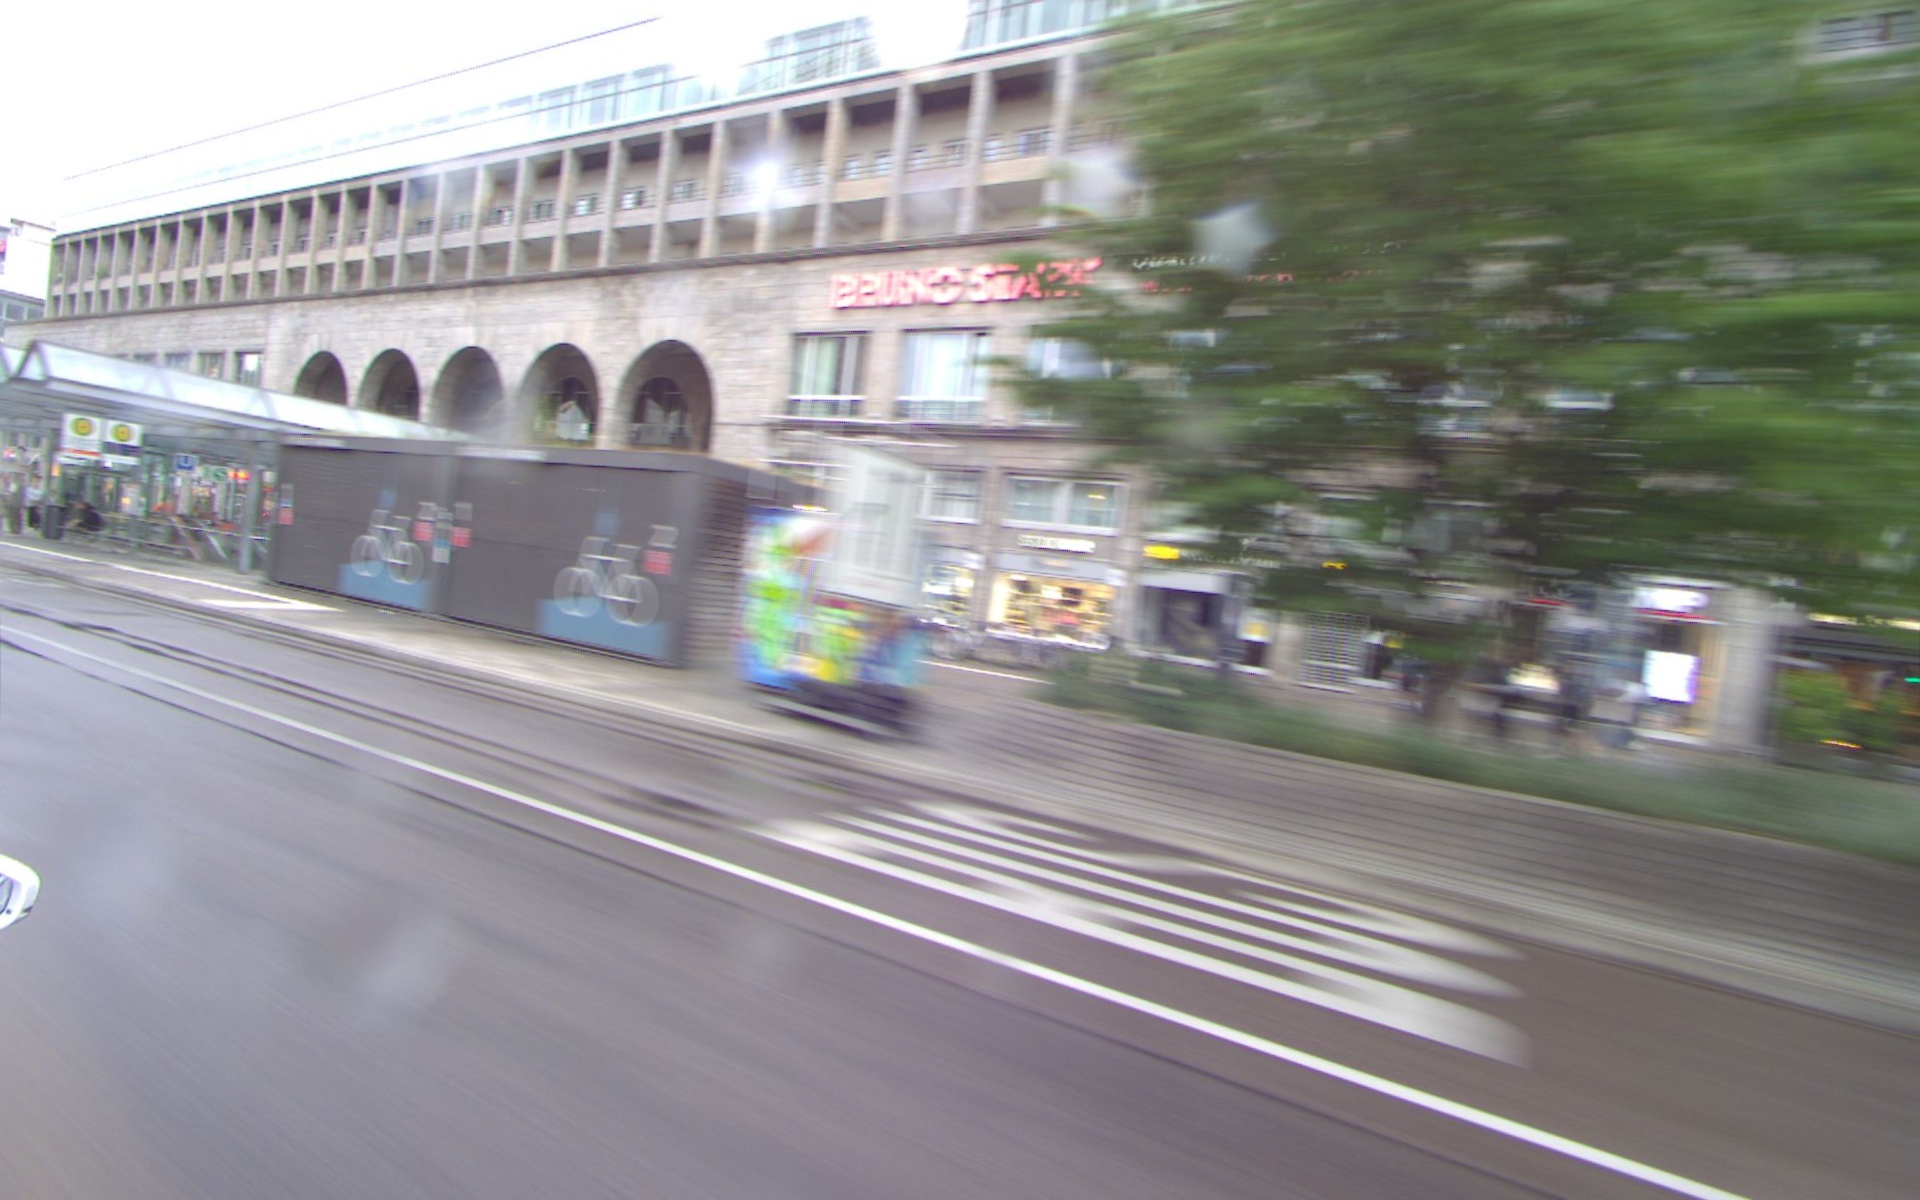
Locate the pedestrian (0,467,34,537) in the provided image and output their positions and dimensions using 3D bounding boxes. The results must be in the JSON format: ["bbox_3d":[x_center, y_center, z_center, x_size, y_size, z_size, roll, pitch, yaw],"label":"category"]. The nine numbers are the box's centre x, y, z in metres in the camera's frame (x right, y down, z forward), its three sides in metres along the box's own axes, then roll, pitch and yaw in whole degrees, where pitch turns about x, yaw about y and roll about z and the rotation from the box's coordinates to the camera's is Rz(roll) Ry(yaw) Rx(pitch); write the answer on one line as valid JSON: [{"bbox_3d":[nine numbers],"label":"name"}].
[{"bbox_3d":[-26.984,-2.792,28.656,0.631,1.859,0.628,7,1,32],"label":"pedestrian"}]

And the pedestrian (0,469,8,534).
[{"bbox_3d":[-28.120,-2.907,29.044,0.565,1.859,0.676,7,1,32],"label":"pedestrian"}]

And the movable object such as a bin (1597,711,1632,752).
[{"bbox_3d":[13.255,2.655,20.396,0.470,0.733,0.572,7,1,29],"label":"movable object such as a bin"}]

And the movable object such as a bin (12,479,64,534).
[{"bbox_3d":[-31.132,-3.155,33.961,1.028,1.673,0.665,7,1,7],"label":"movable object such as a bin"}]

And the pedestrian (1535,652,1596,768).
[{"bbox_3d":[9.773,1.759,16.250,0.625,1.773,0.532,7,1,29],"label":"pedestrian"}]

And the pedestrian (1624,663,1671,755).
[{"bbox_3d":[13.955,2.201,20.420,0.563,1.773,0.527,7,1,31],"label":"pedestrian"}]

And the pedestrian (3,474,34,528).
[{"bbox_3d":[-34.294,-3.608,36.633,0.616,1.883,0.606,7,1,39],"label":"pedestrian"}]

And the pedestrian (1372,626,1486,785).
[{"bbox_3d":[5.805,1.281,12.449,1.058,1.773,0.641,7,1,29],"label":"pedestrian"}]

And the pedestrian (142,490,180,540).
[{"bbox_3d":[-31.985,-3.396,40.289,0.739,1.854,0.761,7,1,1],"label":"pedestrian"}]

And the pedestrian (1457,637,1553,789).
[{"bbox_3d":[6.935,1.417,12.820,0.853,1.773,0.613,7,1,29],"label":"pedestrian"}]

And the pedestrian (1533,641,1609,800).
[{"bbox_3d":[7.230,1.409,11.930,0.558,1.773,0.567,7,1,29],"label":"pedestrian"}]
